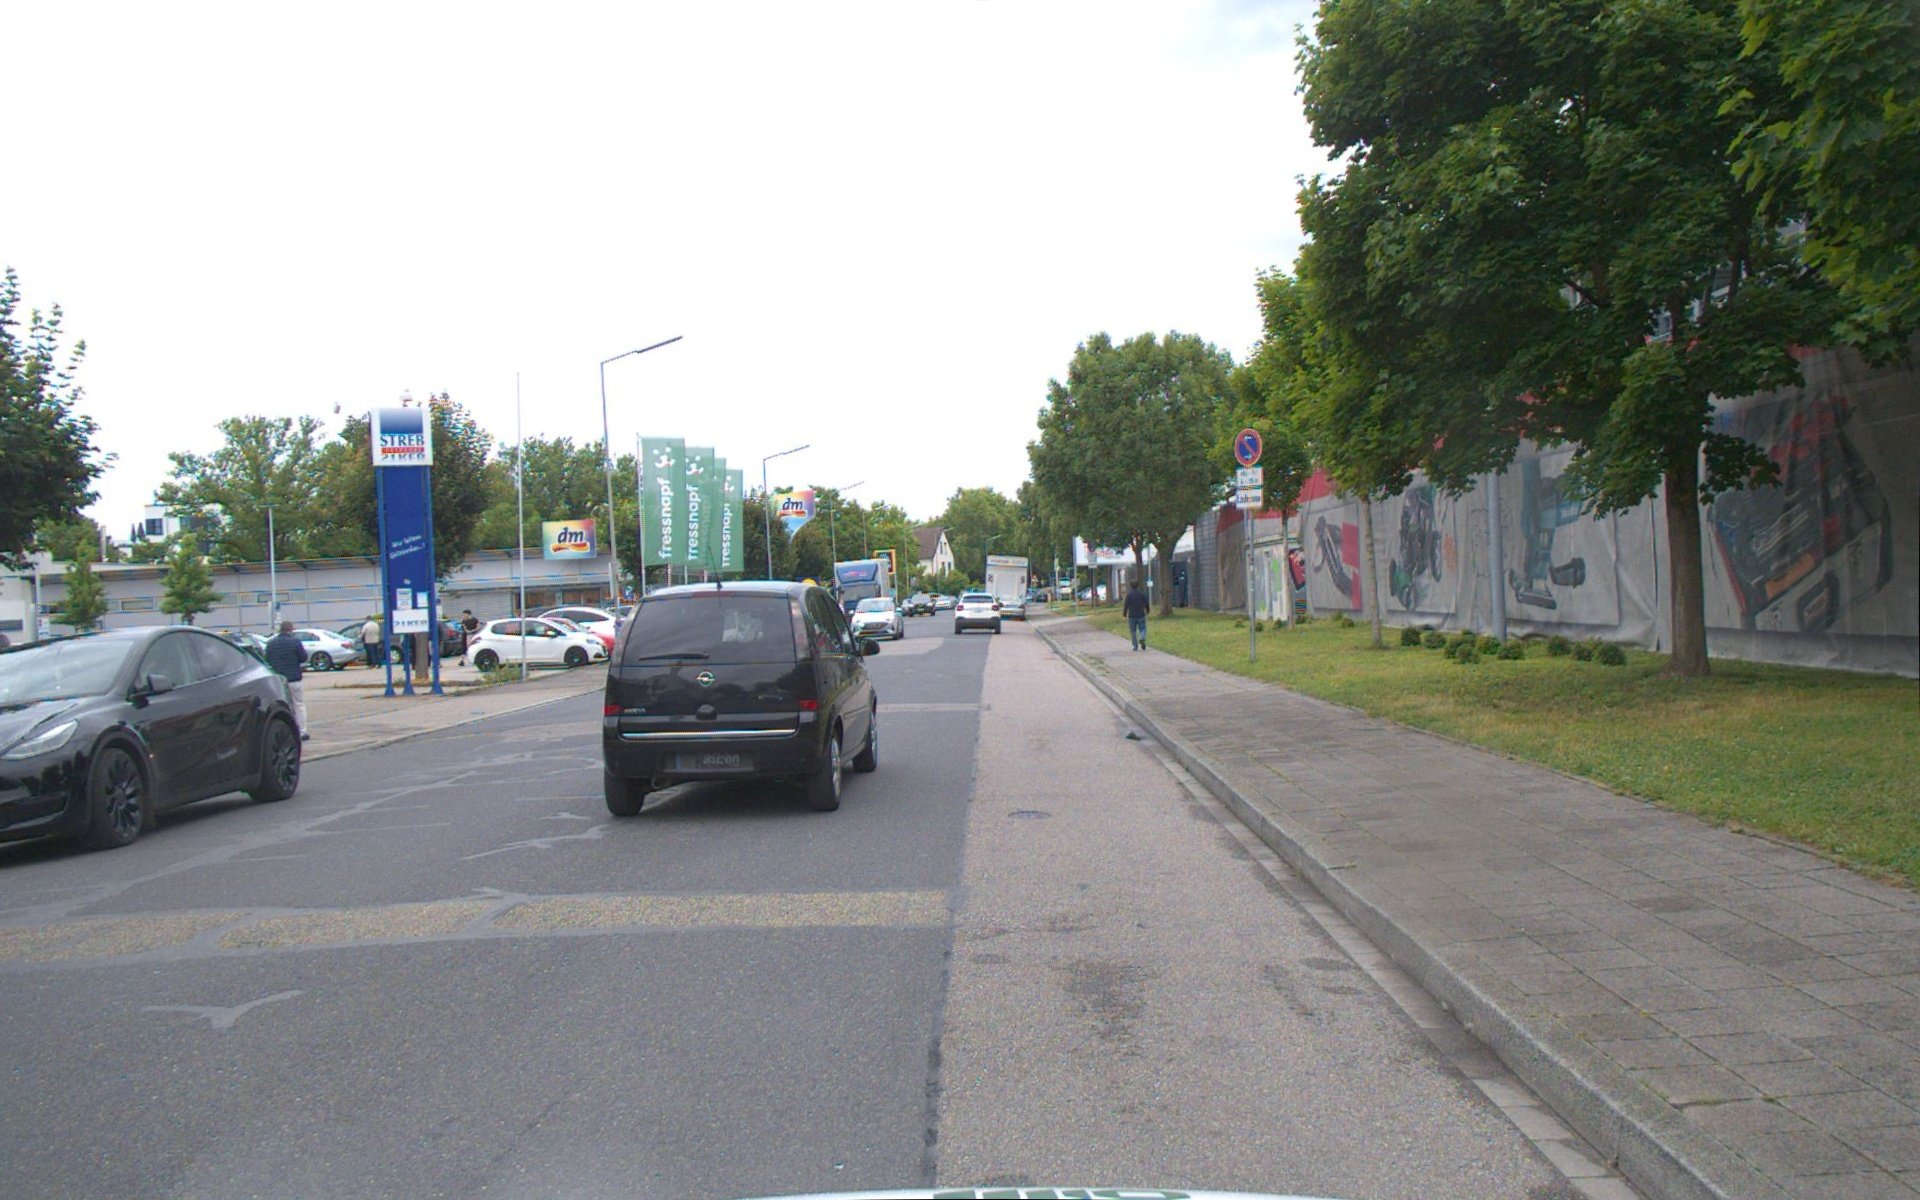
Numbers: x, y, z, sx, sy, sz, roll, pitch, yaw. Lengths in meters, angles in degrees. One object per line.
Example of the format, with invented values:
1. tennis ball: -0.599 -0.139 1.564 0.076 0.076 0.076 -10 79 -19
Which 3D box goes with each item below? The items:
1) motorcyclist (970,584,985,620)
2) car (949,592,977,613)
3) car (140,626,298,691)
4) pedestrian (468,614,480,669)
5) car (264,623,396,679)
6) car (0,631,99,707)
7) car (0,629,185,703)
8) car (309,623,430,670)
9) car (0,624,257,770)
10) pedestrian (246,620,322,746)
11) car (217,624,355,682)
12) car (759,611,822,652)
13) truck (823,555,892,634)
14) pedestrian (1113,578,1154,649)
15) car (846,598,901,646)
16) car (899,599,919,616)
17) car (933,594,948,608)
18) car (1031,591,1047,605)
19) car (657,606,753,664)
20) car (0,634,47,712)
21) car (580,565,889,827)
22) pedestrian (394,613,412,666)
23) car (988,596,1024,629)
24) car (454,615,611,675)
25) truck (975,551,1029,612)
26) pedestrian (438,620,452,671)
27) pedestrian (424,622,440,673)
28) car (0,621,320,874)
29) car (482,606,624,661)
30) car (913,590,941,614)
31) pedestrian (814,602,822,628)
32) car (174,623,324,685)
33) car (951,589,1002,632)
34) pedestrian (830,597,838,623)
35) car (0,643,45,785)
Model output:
1. motorcyclist: 0.803 0.098 75.503 0.612 1.581 0.604 -3 0 3
2. car: 0.246 0.199 120.882 1.898 1.390 4.000 -4 0 1
3. car: -22.628 1.763 50.597 3.905 1.698 1.877 -3 0 1
4. pedestrian: -15.672 1.346 53.356 0.258 1.760 0.421 -3 0 -11
5. car: -22.453 1.804 59.071 3.905 1.698 1.877 -3 0 1
6. car: -23.486 1.729 40.321 3.905 1.698 1.877 -3 0 1
7. car: -23.330 1.753 44.553 3.905 1.698 1.877 -3 0 1
8. car: -22.575 1.777 63.287 3.904 1.518 1.786 -3 0 2
9. car: -13.721 1.540 26.749 3.854 2.048 1.759 -3 0 -6
10. pedestrian: -9.705 1.175 23.777 0.760 1.745 0.696 -2 0 -3
11. car: -23.142 1.808 56.874 3.905 1.698 1.877 -3 0 1
12. car: -6.470 1.197 63.547 1.859 1.391 4.001 -3 0 1
13. truck: -5.590 -0.319 91.225 2.912 4.024 6.406 -4 0 2
14. pedestrian: 4.146 0.327 39.648 0.900 1.663 0.853 -1 -1 3
15. car: -3.055 0.768 59.136 1.566 1.554 3.529 -4 0 2
16. car: -4.323 0.629 140.281 1.590 1.399 3.452 -2 0 0
17. car: -2.039 0.103 173.736 1.510 1.389 3.429 -2 0 1
18. car: 9.568 -0.265 200.239 1.847 1.713 4.255 -1 0 2
19. car: -6.923 0.936 45.288 1.859 1.391 4.001 -3 0 1
20. car: -23.429 1.766 37.873 3.905 1.698 1.877 -3 0 1
21. car: -1.583 0.632 12.890 1.646 1.660 3.760 -3 0 3
22. pedestrian: -17.796 1.253 52.845 0.448 1.670 0.373 -3 0 -16
23. car: 2.677 0.738 96.270 1.953 1.837 4.000 -1 0 0
24. car: -12.336 1.277 47.941 4.123 1.489 1.950 -2 0 -7
25. truck: 2.603 -1.097 105.498 3.071 3.647 10.049 -1 0 0
26. pedestrian: -16.525 1.448 53.052 0.324 1.597 0.502 -2 0 -11
27. pedestrian: -16.896 1.527 52.956 0.352 1.597 0.503 -3 0 -9
28. car: -6.913 1.090 13.003 1.908 1.552 4.402 -7 0 0
29. car: -12.960 1.058 52.811 4.054 1.488 1.897 -3 0 -4
30. car: -2.435 0.143 124.103 1.953 1.713 4.000 -2 0 0
31. pedestrian: -8.554 0.912 99.502 0.394 1.558 0.485 -3 0 -5
32. car: -22.788 1.724 53.114 3.905 1.698 1.877 -3 0 1
33. car: 0.664 0.393 63.646 1.847 1.558 4.255 -1 0 2
34. pedestrian: -7.631 0.593 100.429 0.394 1.558 0.485 -3 0 -5
35. car: -13.200 1.411 19.420 3.793 1.649 1.928 -2 0 1
